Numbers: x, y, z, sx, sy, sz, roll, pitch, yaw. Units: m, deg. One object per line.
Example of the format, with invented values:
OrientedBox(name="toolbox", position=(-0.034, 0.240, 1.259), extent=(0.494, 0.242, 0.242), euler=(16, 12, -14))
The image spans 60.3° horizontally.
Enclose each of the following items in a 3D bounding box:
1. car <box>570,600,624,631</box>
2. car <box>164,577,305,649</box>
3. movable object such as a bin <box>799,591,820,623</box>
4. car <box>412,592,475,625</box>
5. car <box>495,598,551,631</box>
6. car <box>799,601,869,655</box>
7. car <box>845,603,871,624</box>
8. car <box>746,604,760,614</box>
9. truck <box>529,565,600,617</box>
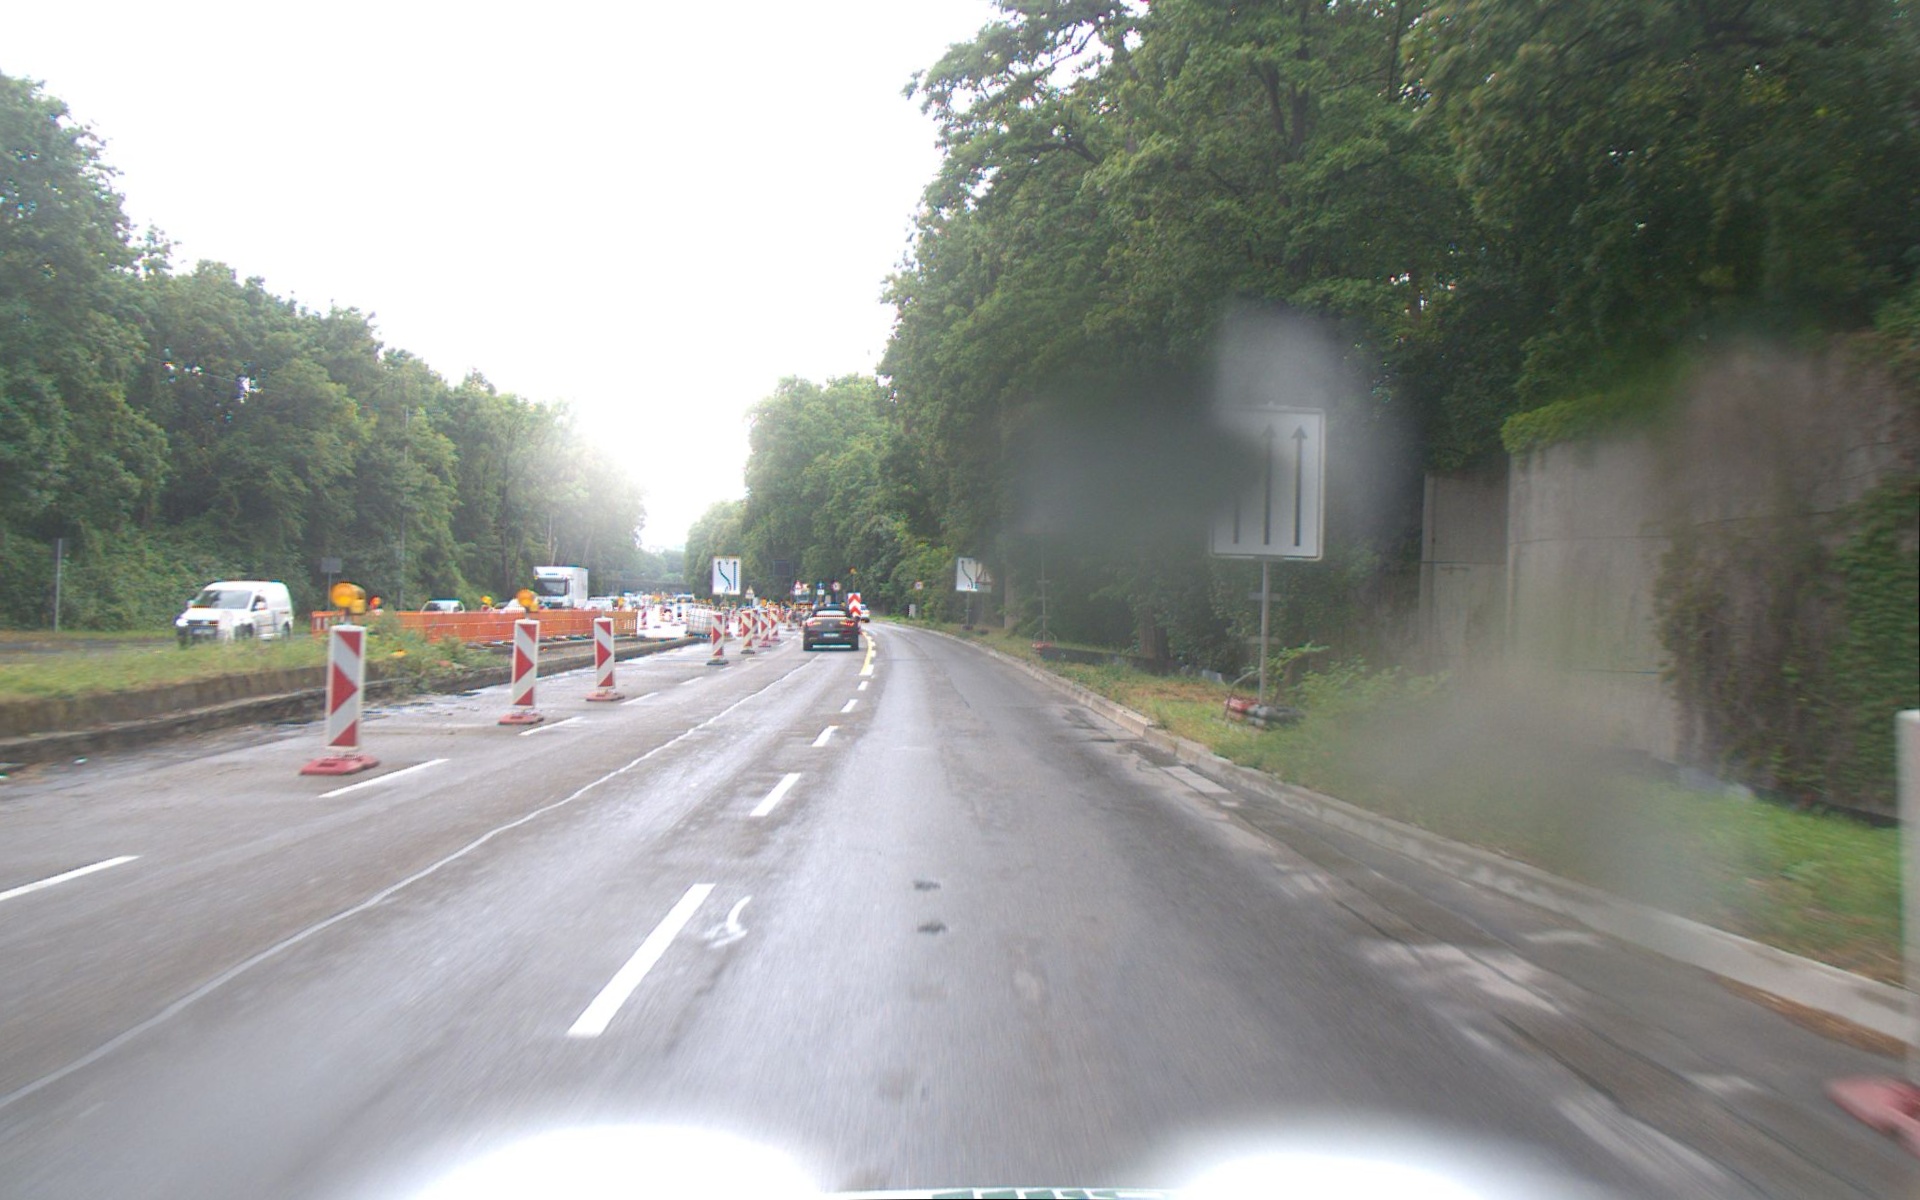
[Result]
OrientedBox(name="car", position=(-18.625, 0.783, 85.013), extent=(1.818, 1.512, 4.677), euler=(1, 0, -2))
OrientedBox(name="car", position=(-19.739, 0.334, 45.240), extent=(1.876, 1.812, 4.831), euler=(2, 0, -2))
OrientedBox(name="movable object such as a bin", position=(-13.991, 0.662, 153.788), extent=(1.714, 2.918, 3.528), euler=(0, 0, -8))
OrientedBox(name="car", position=(-23.739, 0.389, 76.124), extent=(1.755, 1.450, 3.894), euler=(1, 0, -2))
OrientedBox(name="car", position=(-21.334, 0.697, 80.850), extent=(1.798, 1.577, 4.038), euler=(1, 0, -2))
OrientedBox(name="car", position=(-4.164, 0.893, 55.097), extent=(1.823, 1.517, 4.002), euler=(3, 2, 2))
OrientedBox(name="car", position=(-8.417, 1.093, 136.001), extent=(1.877, 1.626, 4.827), euler=(2, 0, -6))
OrientedBox(name="car", position=(-29.902, 1.284, 238.639), extent=(1.725, 1.367, 3.989), euler=(2, 1, -12))
OrientedBox(name="truck", position=(-25.760, -0.544, 108.245), extent=(2.740, 3.203, 10.139), euler=(1, 0, -4))
